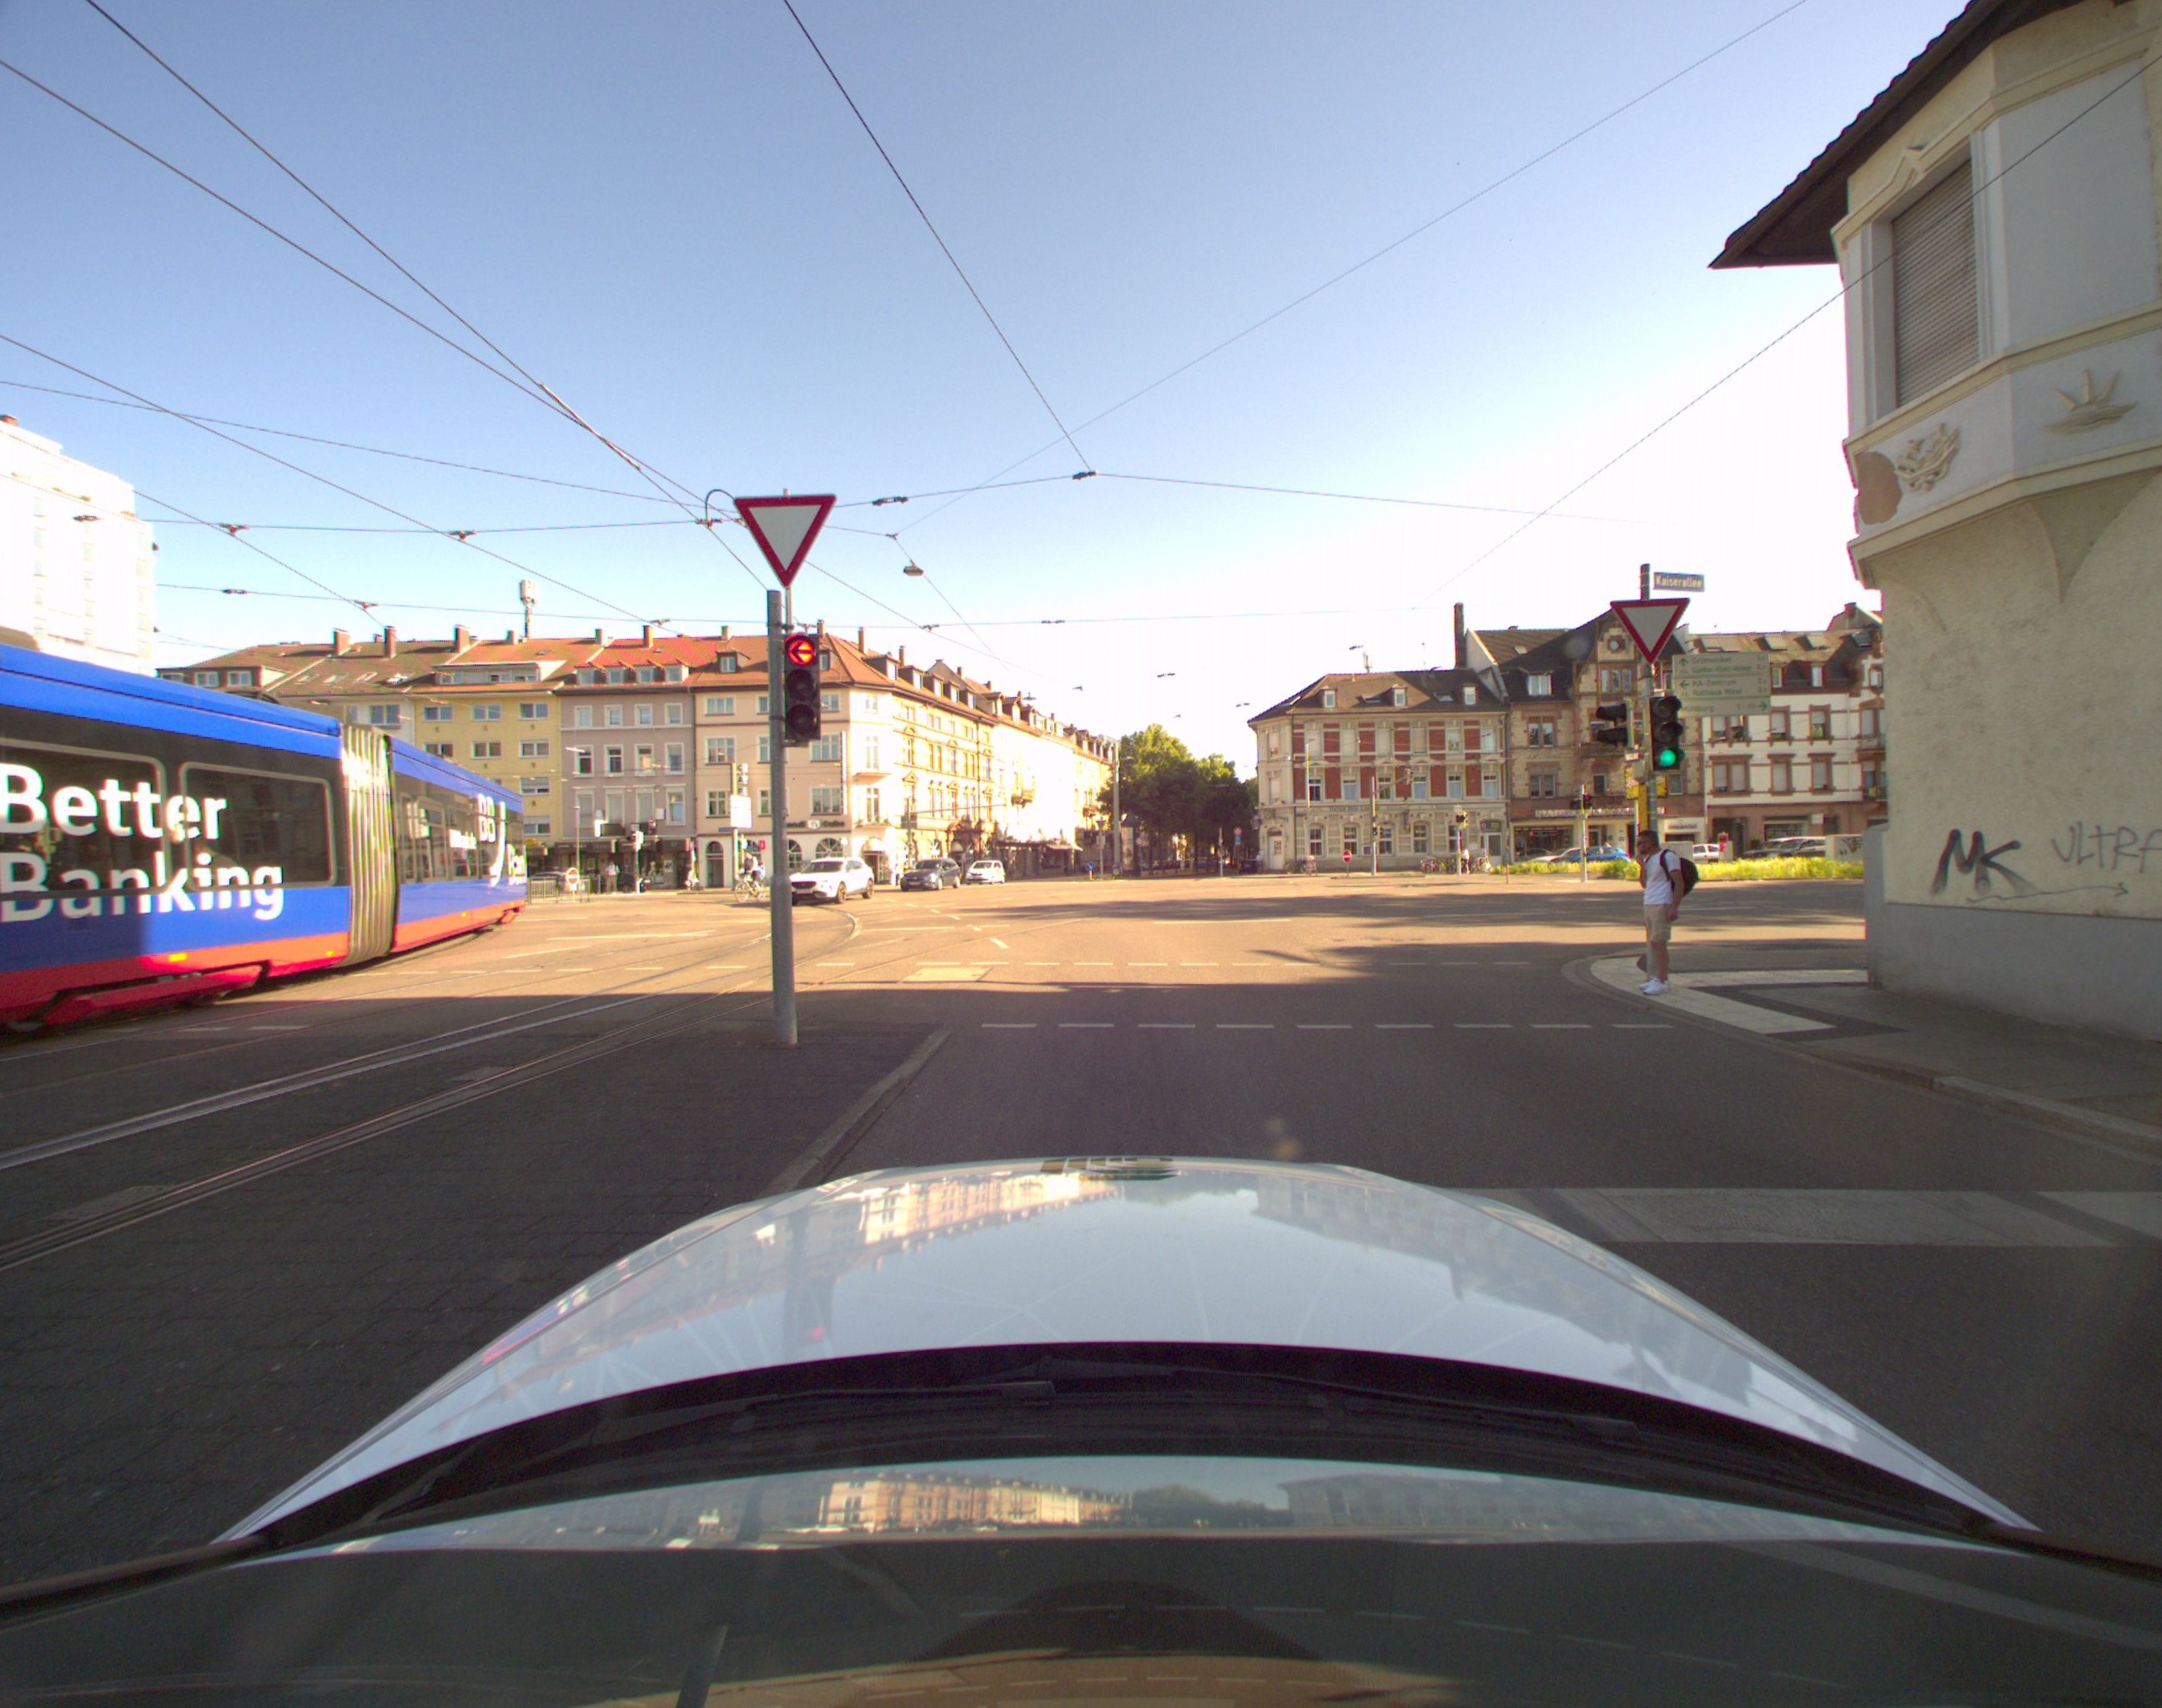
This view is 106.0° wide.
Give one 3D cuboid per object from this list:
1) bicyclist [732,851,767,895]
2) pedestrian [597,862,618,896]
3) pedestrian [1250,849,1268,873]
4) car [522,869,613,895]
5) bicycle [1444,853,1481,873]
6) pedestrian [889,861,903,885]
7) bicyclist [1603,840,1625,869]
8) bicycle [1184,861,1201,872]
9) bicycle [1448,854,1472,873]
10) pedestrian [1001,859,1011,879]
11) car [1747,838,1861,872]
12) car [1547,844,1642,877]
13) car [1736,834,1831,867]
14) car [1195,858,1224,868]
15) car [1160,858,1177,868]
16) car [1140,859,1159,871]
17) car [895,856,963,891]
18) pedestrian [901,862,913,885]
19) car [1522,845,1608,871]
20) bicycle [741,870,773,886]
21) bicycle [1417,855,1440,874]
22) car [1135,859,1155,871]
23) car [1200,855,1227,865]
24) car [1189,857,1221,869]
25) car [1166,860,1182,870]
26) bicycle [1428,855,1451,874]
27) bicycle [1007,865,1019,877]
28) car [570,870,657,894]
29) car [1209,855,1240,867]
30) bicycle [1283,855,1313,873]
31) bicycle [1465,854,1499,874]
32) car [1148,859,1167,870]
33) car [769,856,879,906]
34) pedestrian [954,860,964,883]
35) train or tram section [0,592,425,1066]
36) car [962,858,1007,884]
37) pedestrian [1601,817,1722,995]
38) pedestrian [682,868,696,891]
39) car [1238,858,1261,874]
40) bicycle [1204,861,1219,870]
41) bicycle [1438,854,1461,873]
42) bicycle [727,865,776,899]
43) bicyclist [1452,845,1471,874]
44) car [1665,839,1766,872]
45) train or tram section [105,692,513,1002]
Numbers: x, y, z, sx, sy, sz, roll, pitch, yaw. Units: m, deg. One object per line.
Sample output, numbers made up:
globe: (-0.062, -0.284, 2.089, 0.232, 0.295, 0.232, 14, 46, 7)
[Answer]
bicyclist: (-12.173, 0.682, 29.930, 0.709, 1.559, 0.991, -2, 0, 16)
pedestrian: (-23.762, 1.245, 40.846, 0.726, 1.627, 0.668, -1, 0, -15)
pedestrian: (12.872, 0.515, 58.912, 0.722, 1.669, 0.928, -1, -1, -43)
car: (-30.040, 1.633, 47.705, 4.182, 1.355, 2.005, -2, 0, 9)
bicycle: (23.643, 0.580, 50.504, 1.952, 1.191, 0.602, -2, 0, 4)
pedestrian: (-12.768, 1.326, 56.244, 0.670, 1.642, 0.581, -2, 0, 15)
bicyclist: (33.203, 0.053, 50.722, 0.901, 1.764, 0.601, -1, 0, -3)
bicycle: (11.335, 1.284, 82.641, 0.586, 1.067, 1.928, -1, 0, -34)
bicycle: (24.523, 0.622, 52.733, 0.674, 1.191, 1.969, -1, 0, 3)
pedestrian: (-6.979, 1.393, 76.204, 0.676, 1.908, 0.636, -2, 0, 18)
car: (39.610, 0.060, 44.698, 4.456, 1.668, 1.955, -2, 0, 1)
car: (28.320, 0.333, 45.026, 3.973, 1.668, 1.955, -2, 0, 1)
car: (45.237, -0.198, 52.494, 4.388, 1.965, 1.955, -2, 0, 1)
car: (20.204, 1.445, 128.006, 3.949, 1.545, 2.012, -2, 0, 30)
car: (14.198, 1.434, 131.760, 1.978, 1.497, 4.051, -2, 0, 16)
car: (9.907, 1.585, 117.301, 1.978, 1.497, 4.051, -2, 0, 16)
car: (-6.921, 0.848, 37.469, 1.764, 1.497, 4.582, -2, 0, 6)
pedestrian: (-12.332, 1.376, 57.660, 0.626, 1.642, 0.554, -2, 0, 15)
car: (28.512, 0.255, 48.019, 3.973, 1.412, 1.846, -2, 0, 1)
bicycle: (-22.818, 1.695, 57.340, 1.940, 1.067, 0.582, -1, 0, -6)
bicycle: (22.499, 0.642, 52.763, 0.674, 1.191, 1.969, -1, 0, 3)
car: (8.936, 1.556, 112.835, 1.978, 1.497, 4.051, -2, 0, 16)
car: (21.860, 0.967, 134.133, 3.949, 1.545, 2.012, -2, 0, 30)
car: (17.532, 1.274, 115.423, 3.949, 1.545, 2.012, -2, 0, 30)
car: (15.562, 1.881, 136.344, 1.978, 1.497, 4.051, -2, 0, 16)
bicycle: (23.201, 0.652, 52.772, 0.674, 1.191, 1.969, -1, 0, 3)
bicycle: (-6.706, 1.679, 79.866, 0.491, 1.067, 1.778, -2, 0, 18)
car: (-30.699, 1.841, 53.527, 4.626, 1.440, 1.743, -1, -1, -1)
car: (20.512, 1.018, 116.462, 3.948, 1.545, 2.013, -2, 0, 32)
bicycle: (15.191, 0.715, 56.957, 1.950, 1.191, 0.547, -2, 0, 6)
bicycle: (25.747, 0.635, 52.305, 1.961, 1.191, 0.677, -1, 0, -10)
car: (11.521, 1.524, 122.502, 1.978, 1.497, 4.051, -2, 0, 16)
car: (-8.496, 0.836, 27.400, 1.984, 1.497, 4.353, -2, 0, 4)
pedestrian: (-9.890, 1.427, 66.069, 0.575, 1.836, 0.636, -2, 0, 18)
train or tram section: (-9.541, -0.171, 4.558, 3.053, 3.613, 12.468, -1, 0, -8)
car: (-5.928, 1.041, 50.328, 1.707, 1.497, 3.594, -2, 0, 10)
pedestrian: (6.071, 0.528, 8.533, 0.691, 1.740, 0.668, -4, -1, -28)
pedestrian: (-27.133, 1.742, 56.364, 0.656, 1.524, 0.694, -1, 0, -3)
car: (17.018, 1.147, 82.163, 1.978, 1.497, 4.051, -2, 0, 16)
bicycle: (15.875, 1.358, 99.035, 0.586, 1.067, 1.928, -1, 0, -34)
bicycle: (23.850, 0.619, 52.757, 0.674, 1.191, 1.969, -1, 0, 3)
bicycle: (-12.107, 1.009, 29.997, 0.481, 1.166, 2.065, -2, 0, 16)
bicyclist: (23.613, 0.336, 50.505, 0.869, 1.764, 0.602, -2, 0, 4)
car: (34.807, 0.086, 44.761, 3.973, 1.668, 1.955, -2, 0, 1)
train or tram section: (-13.123, -0.027, 15.413, 3.075, 3.613, 11.993, -1, 0, -31)
